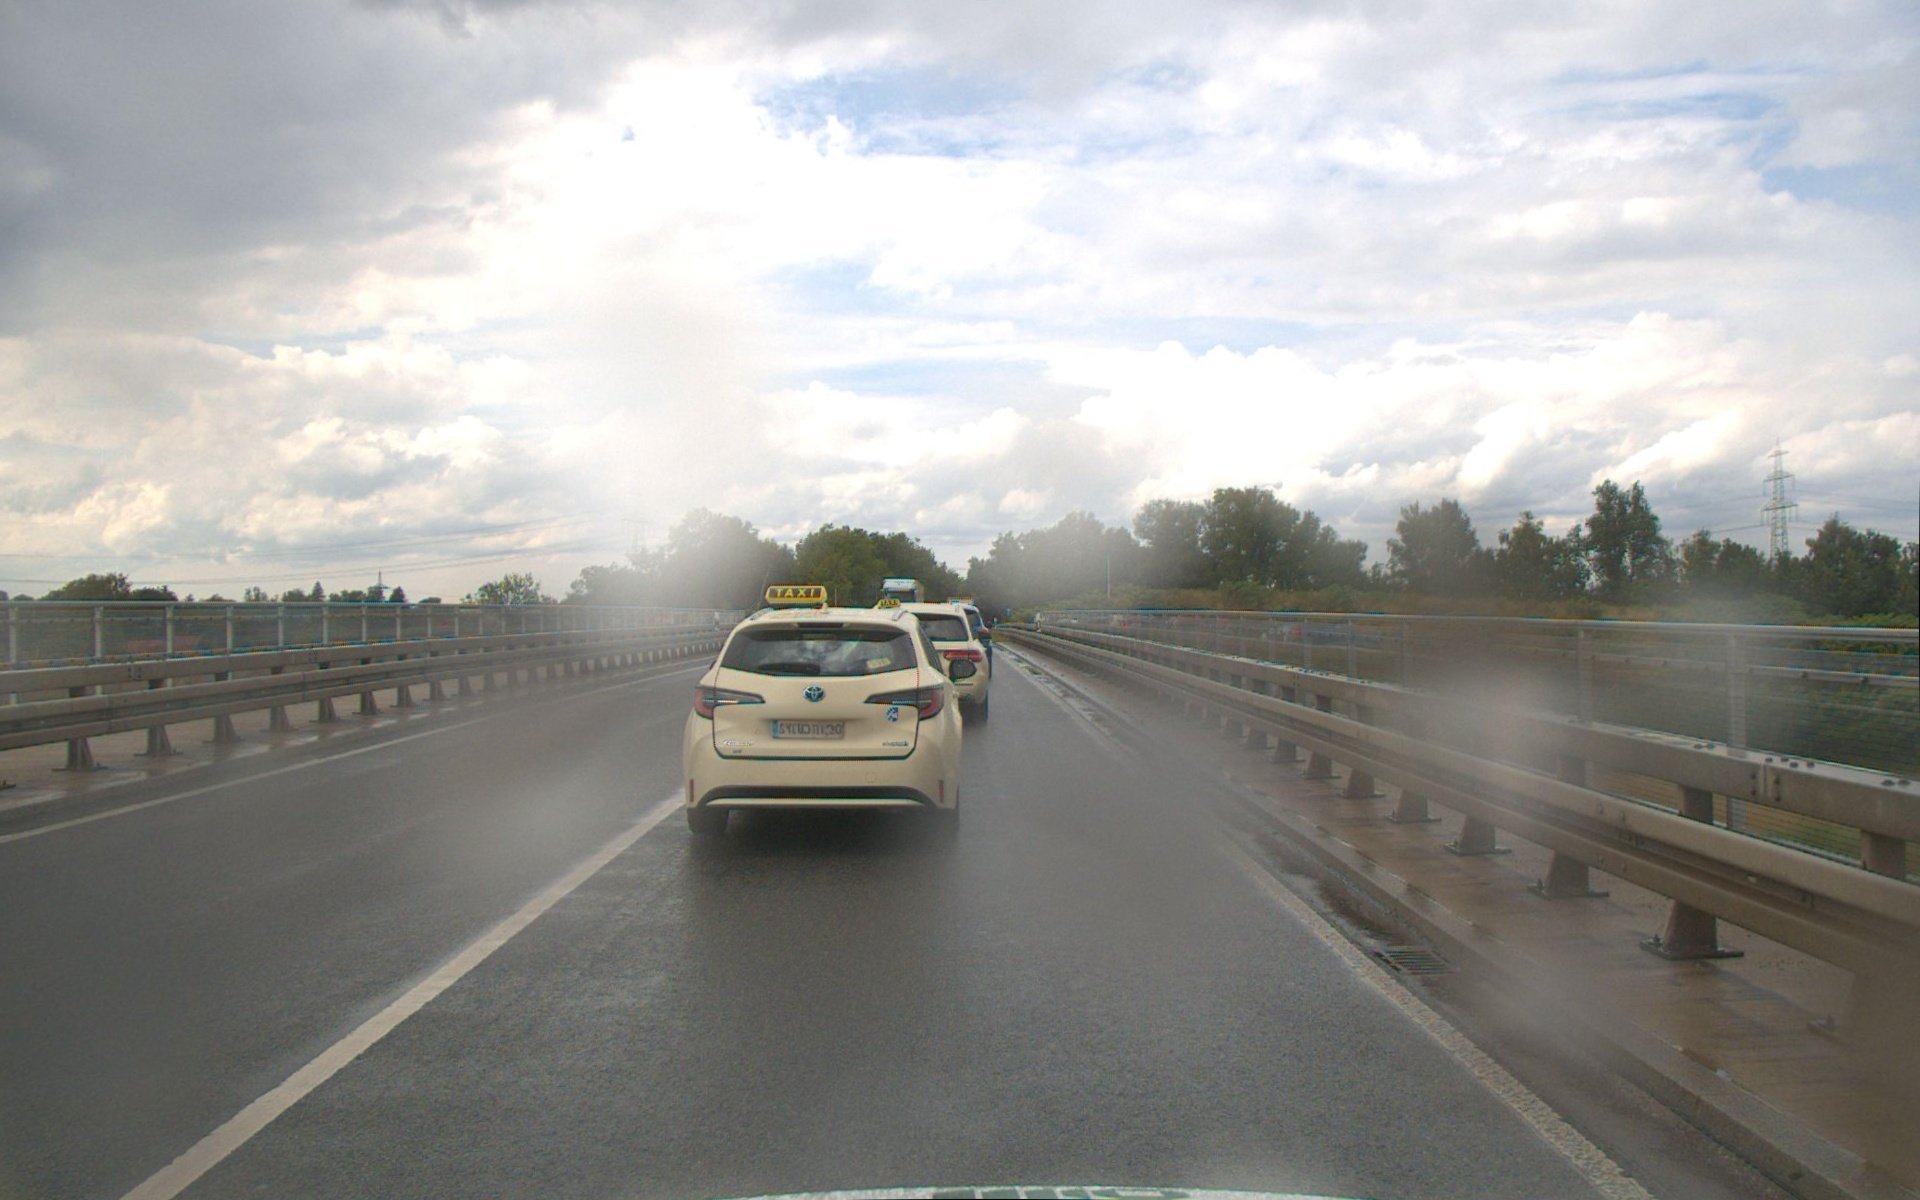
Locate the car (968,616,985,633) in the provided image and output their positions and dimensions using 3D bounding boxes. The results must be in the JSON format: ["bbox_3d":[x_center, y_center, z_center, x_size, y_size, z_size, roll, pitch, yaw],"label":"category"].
[{"bbox_3d":[2.044,3.000,205.134,1.953,2.049,3.999,1,-1,-1],"label":"car"}]

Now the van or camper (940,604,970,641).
[{"bbox_3d":[-0.401,1.776,132.891,2.285,2.914,6.305,1,-1,0],"label":"van or camper"}]

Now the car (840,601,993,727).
[{"bbox_3d":[-0.538,0.771,21.913,1.816,1.468,4.170,1,0,-1],"label":"car"}]

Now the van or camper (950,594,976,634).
[{"bbox_3d":[0.258,1.332,156.297,2.285,3.625,6.305,1,-1,0],"label":"van or camper"}]

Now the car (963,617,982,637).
[{"bbox_3d":[1.354,2.895,179.129,1.953,2.049,3.999,1,-1,-1],"label":"car"}]

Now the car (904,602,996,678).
[{"bbox_3d":[-0.212,0.798,35.074,1.816,1.468,4.170,1,0,-1],"label":"car"}]

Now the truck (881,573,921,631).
[{"bbox_3d":[-4.313,0.162,122.877,2.628,4.087,10.054,0,0,0],"label":"truck"}]

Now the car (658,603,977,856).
[{"bbox_3d":[-0.836,0.753,11.623,1.816,1.418,4.170,1,0,-1],"label":"car"}]
